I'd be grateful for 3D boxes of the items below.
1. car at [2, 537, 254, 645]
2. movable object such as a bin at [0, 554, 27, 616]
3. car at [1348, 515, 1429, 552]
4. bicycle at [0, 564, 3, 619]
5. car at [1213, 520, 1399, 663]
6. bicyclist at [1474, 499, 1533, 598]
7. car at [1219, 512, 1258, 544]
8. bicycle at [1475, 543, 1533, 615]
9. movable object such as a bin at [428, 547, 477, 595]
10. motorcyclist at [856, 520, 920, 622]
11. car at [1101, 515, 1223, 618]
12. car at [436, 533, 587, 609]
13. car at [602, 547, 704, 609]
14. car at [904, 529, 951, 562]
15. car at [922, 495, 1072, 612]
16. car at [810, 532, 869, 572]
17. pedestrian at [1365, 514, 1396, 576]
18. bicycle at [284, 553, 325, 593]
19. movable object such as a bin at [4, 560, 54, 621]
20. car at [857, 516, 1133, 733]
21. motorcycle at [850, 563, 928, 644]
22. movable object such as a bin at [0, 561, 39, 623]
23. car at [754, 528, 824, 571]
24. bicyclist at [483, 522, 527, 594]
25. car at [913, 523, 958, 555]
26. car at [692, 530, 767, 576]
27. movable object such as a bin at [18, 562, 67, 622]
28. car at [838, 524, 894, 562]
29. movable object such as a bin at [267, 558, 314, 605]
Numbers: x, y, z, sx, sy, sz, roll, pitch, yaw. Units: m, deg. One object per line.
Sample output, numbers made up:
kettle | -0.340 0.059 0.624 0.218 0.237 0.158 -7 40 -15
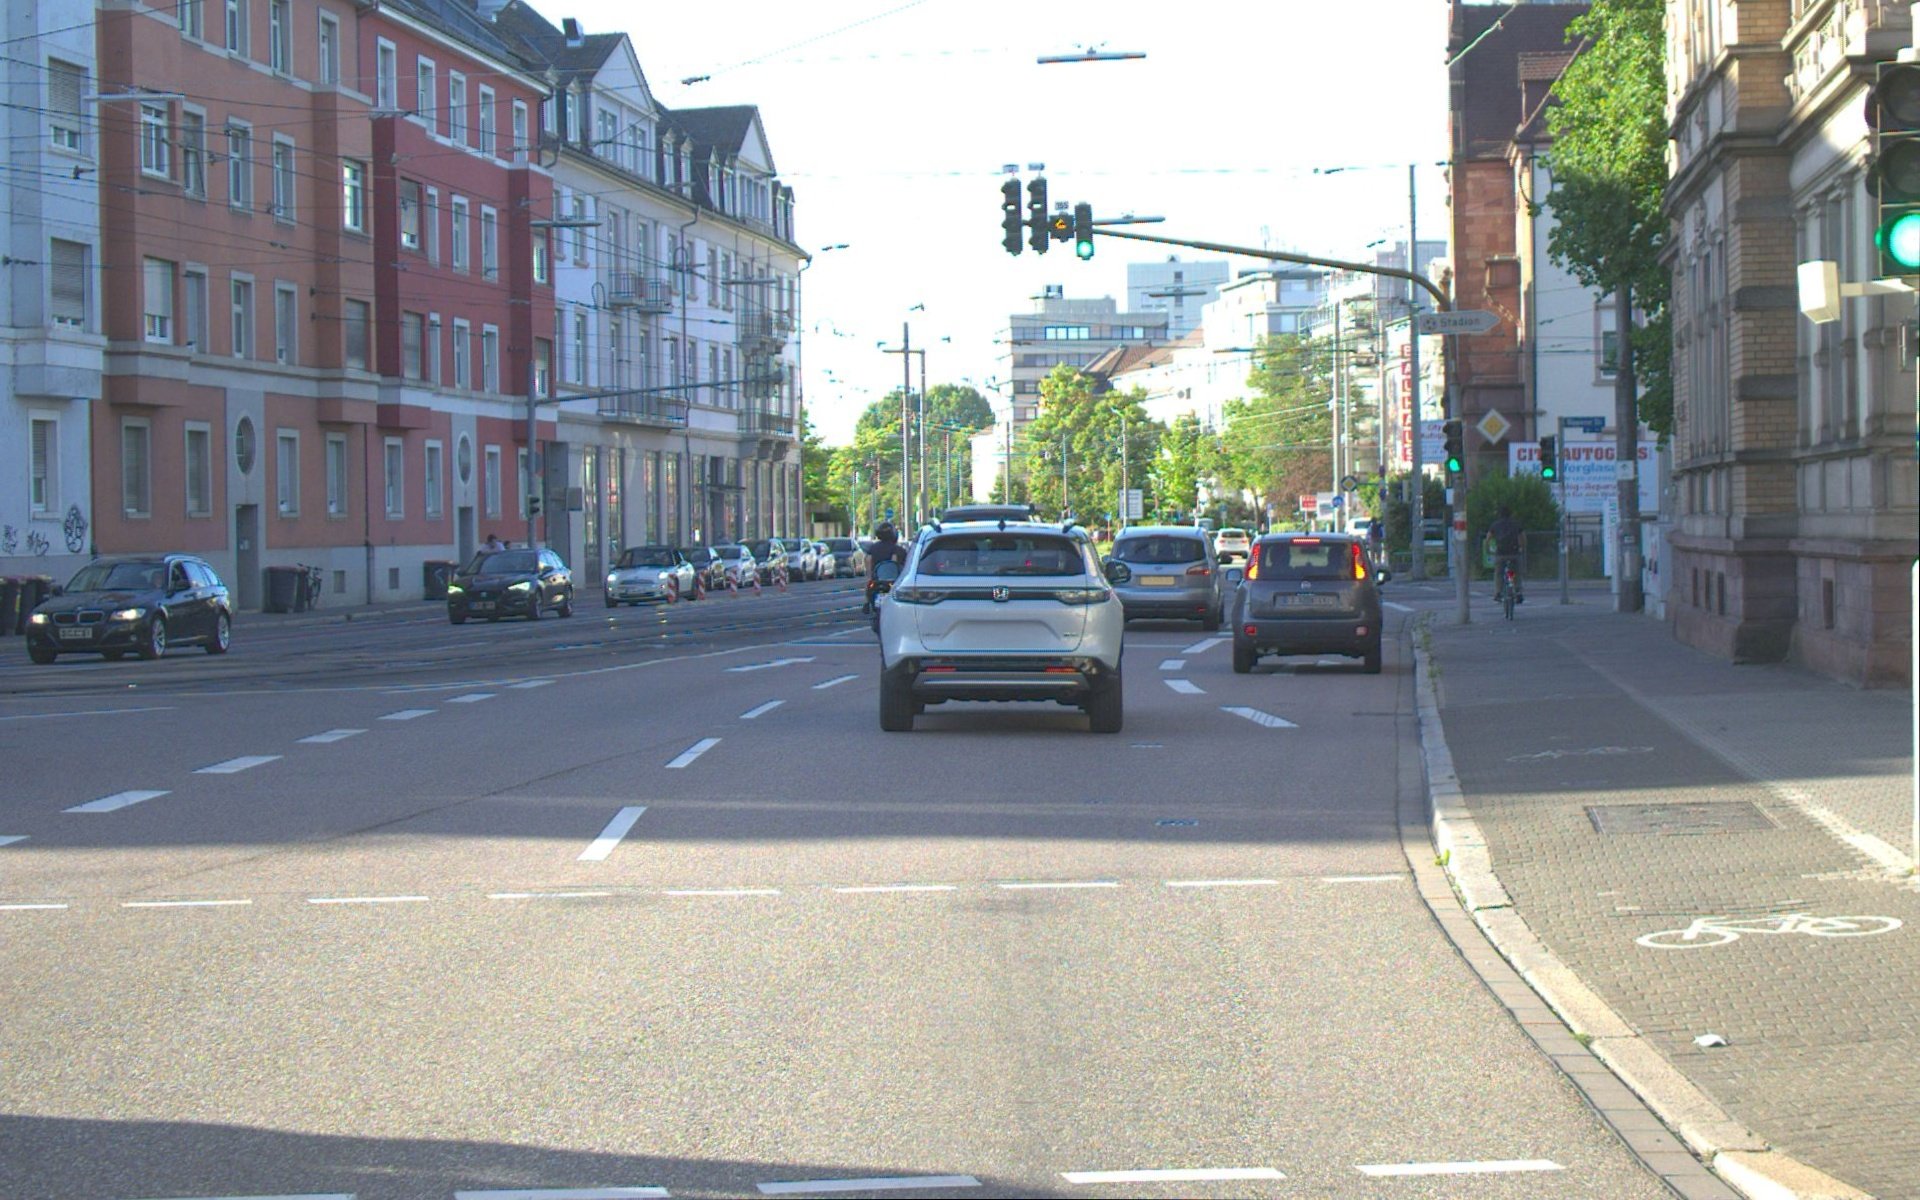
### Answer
car | -11.419 -0.160 47.505 1.994 1.387 4.561 -1 1 5
movable object such as a bin | -17.158 -0.272 61.486 0.702 1.102 0.648 0 1 7
car | 23.952 -3.720 192.259 4.258 2.007 2.000 0 1 -2
bicycle | -17.369 -0.140 59.983 0.605 0.976 1.876 0 1 7
car | 3.908 -0.135 38.337 1.732 1.495 3.998 0 1 11
bicyclist | 8.454 -0.806 53.460 0.834 1.520 0.993 0 1 12
car | 14.960 -3.865 184.495 1.994 1.656 4.496 0 2 6
bicycle | 8.451 -0.335 53.454 0.771 1.082 1.871 0 1 6
movable object such as a bin | -13.369 -0.760 90.624 0.871 1.245 1.233 -1 1 14
motorcyclist | -1.009 -0.412 48.378 0.777 1.418 0.891 0 1 7
car | 3.275 -0.558 55.120 1.814 1.576 3.999 -1 1 5
car | -8.927 -0.601 68.747 1.922 1.450 4.497 0 1 7
car | -7.251 -0.534 81.470 1.726 1.370 3.534 -1 1 6
car | -1.570 -2.661 166.646 1.719 1.546 3.999 -1 1 7
car | 0.714 -0.857 62.385 2.172 2.002 4.807 -1 1 7
car | -4.794 -1.929 136.997 1.719 1.546 3.999 -1 1 7
pedestrian | 12.414 -1.634 101.561 0.876 1.818 1.184 0 1 8
bicycle | -14.957 -0.624 78.480 0.334 0.887 1.603 -1 1 12
movable object such as a bin | -16.999 -0.173 62.797 0.702 1.102 0.582 0 1 7
car | 0.304 0.127 26.385 1.947 1.523 4.090 0 1 2
motorcycle | -0.990 0.039 48.524 0.777 1.078 2.281 0 1 7
movable object such as a bin | -17.109 -0.147 62.157 0.702 1.102 0.582 0 1 8
car | -6.305 -1.879 126.894 1.836 1.546 4.273 -1 1 7
bicyclist | -10.582 -0.983 79.982 0.746 1.637 1.125 -1 1 8
car | -1.223 -3.067 172.658 1.719 1.546 3.999 -1 1 7
car | -7.706 -1.584 115.258 1.719 1.447 3.999 -1 1 7
movable object such as a bin | -16.931 -0.145 63.464 0.702 1.102 0.582 0 1 7
car | -3.911 -2.376 143.135 1.719 1.546 3.999 -1 1 7
movable object such as a bin | -15.028 -0.425 77.212 0.843 1.037 0.811 -1 1 3
